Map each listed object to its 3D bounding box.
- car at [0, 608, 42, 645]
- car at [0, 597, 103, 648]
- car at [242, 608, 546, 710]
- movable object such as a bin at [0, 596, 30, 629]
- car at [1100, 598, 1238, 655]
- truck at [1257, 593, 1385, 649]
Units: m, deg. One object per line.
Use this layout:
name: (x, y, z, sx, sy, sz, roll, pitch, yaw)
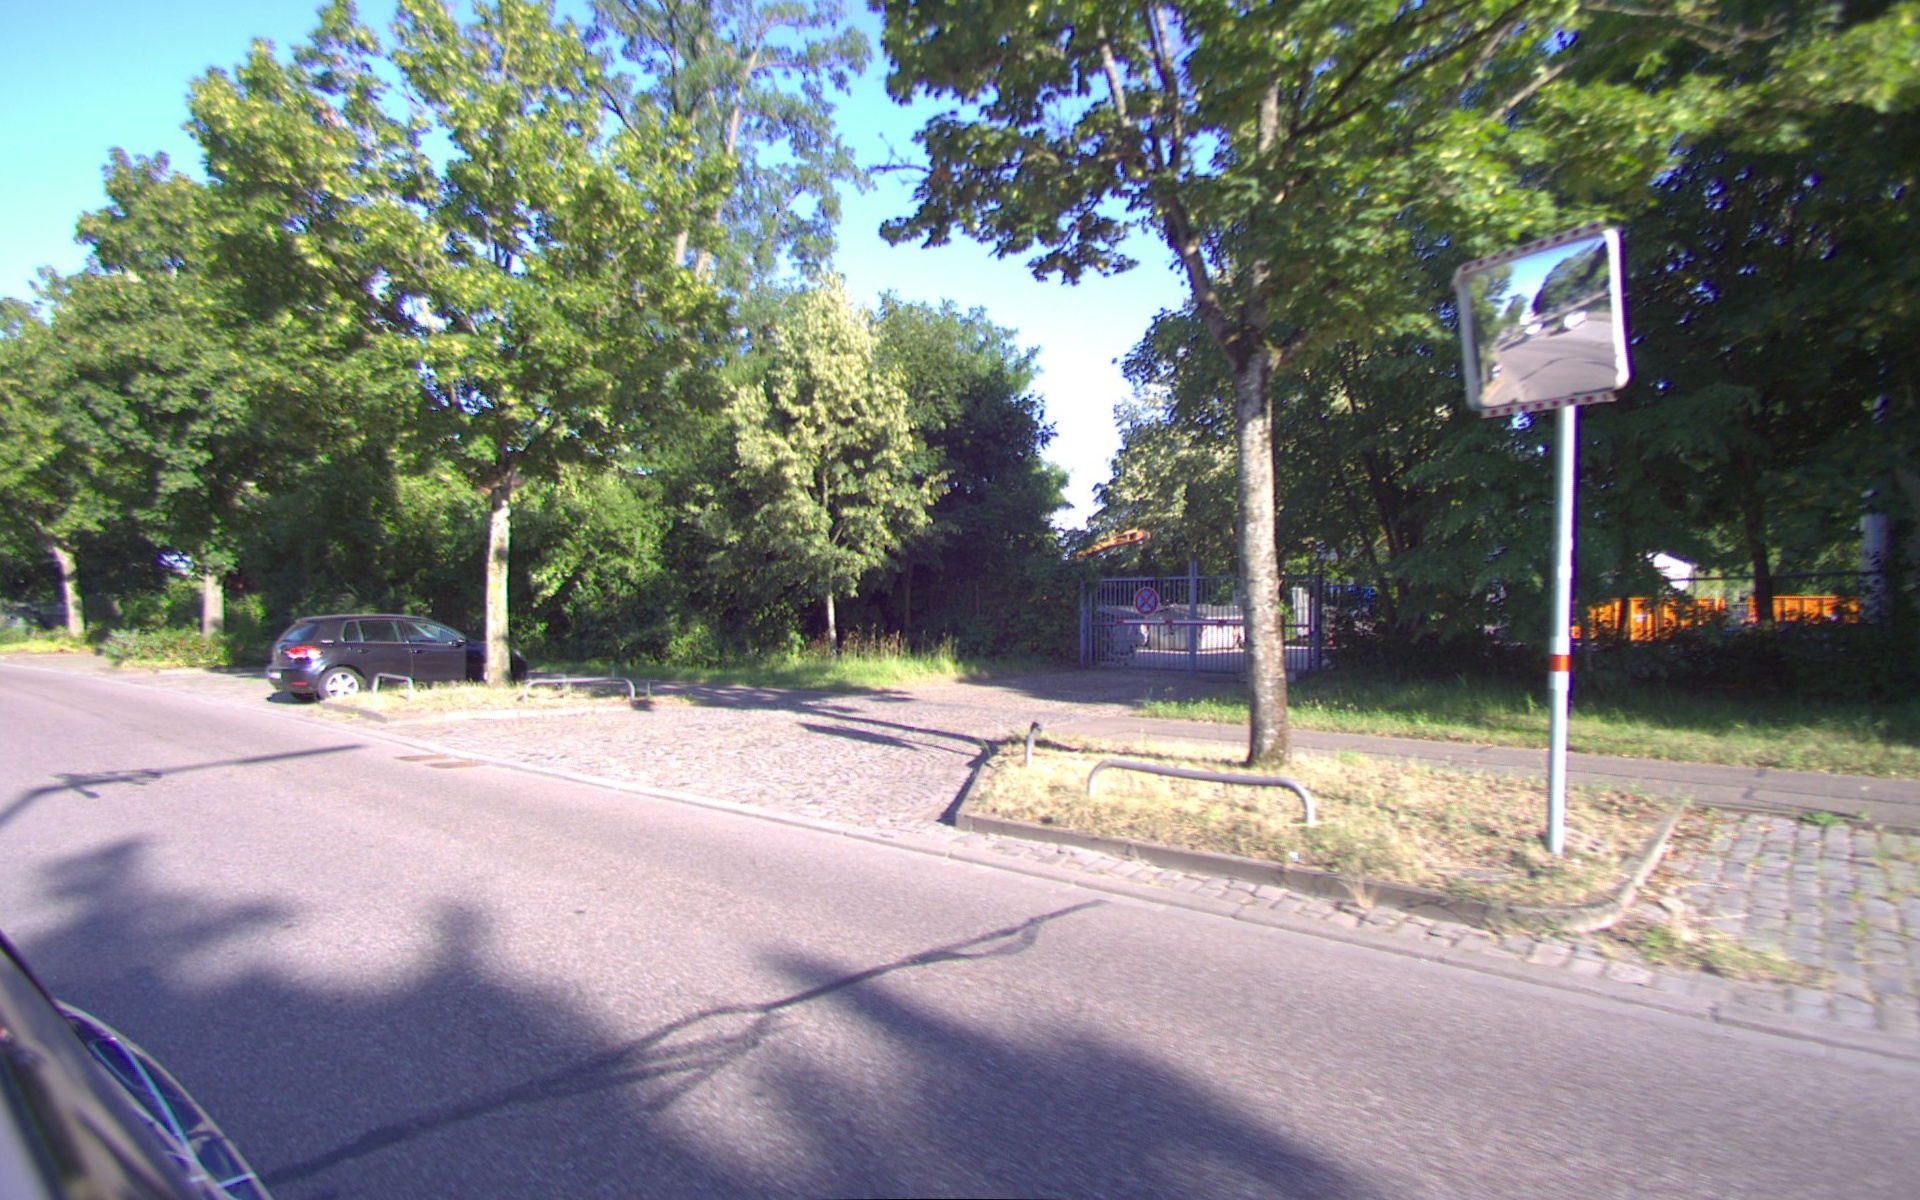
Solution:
car: (-42.121, 1.170, 43.129, 1.701, 1.541, 4.177, -1, 1, 34)
car: (-38.509, 0.914, 41.346, 2.170, 2.035, 4.960, -1, -2, 36)
car: (-9.959, 0.938, 18.084, 1.997, 1.490, 4.317, -1, 0, 38)
movable object such as a bin: (-79.447, 1.039, 82.624, 4.728, 2.685, 2.168, 1, -2, -8)
car: (6.735, 0.851, 32.763, 3.994, 1.741, 1.890, -1, -2, 38)
truck: (14.204, 0.850, 39.886, 4.315, 2.073, 2.031, -1, -2, 41)
